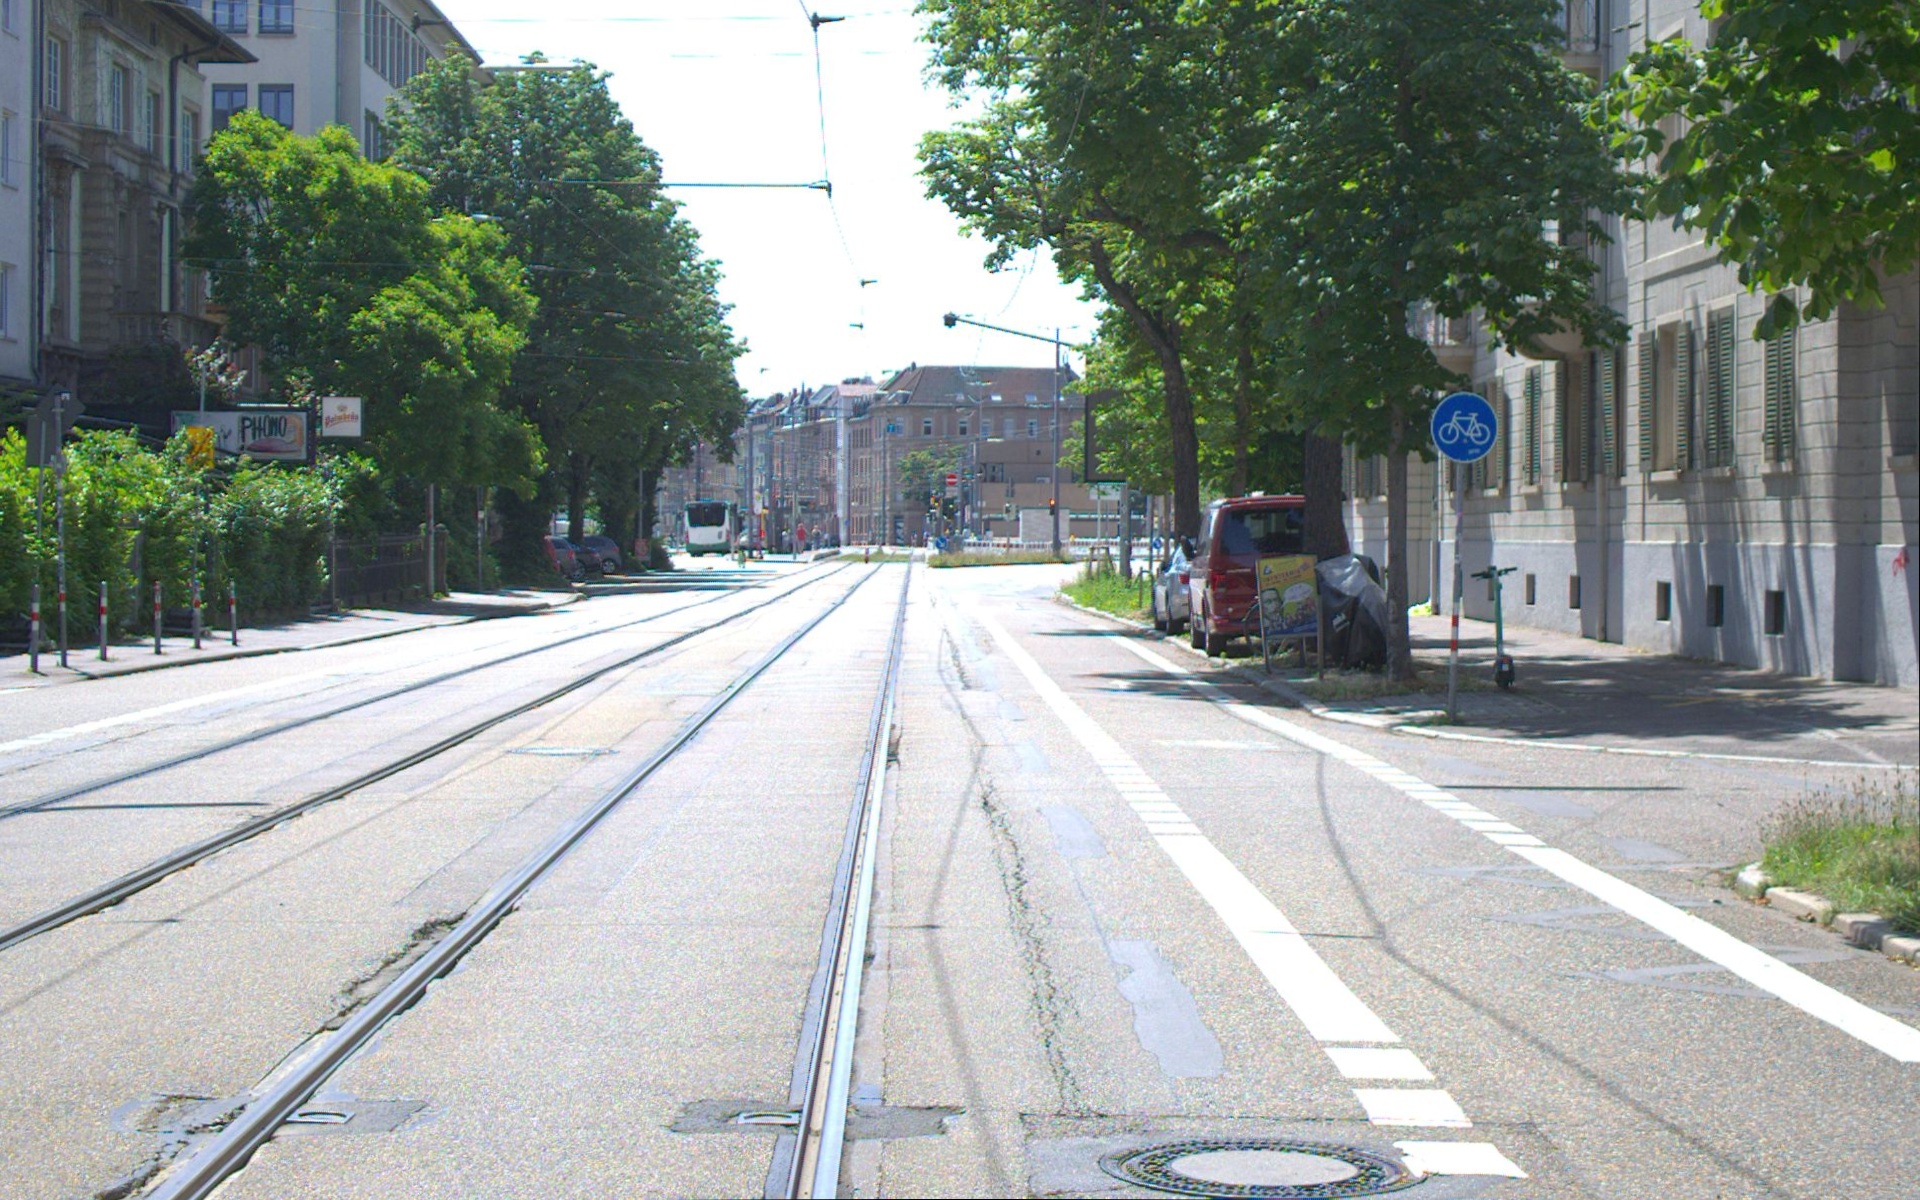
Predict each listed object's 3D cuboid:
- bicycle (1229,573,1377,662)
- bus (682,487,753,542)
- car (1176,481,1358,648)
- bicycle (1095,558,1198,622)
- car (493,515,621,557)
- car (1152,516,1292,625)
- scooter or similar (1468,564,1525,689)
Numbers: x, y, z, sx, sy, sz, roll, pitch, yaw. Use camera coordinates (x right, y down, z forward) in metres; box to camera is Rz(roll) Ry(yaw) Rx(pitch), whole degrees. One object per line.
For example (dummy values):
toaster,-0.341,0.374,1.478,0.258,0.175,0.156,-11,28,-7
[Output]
bicycle,4.030,0.205,40.407,1.696,1.018,0.365,0,1,-6
bus,-14.399,-5.107,205.535,3.010,3.147,17.499,0,1,0
car,3.915,-0.486,44.536,1.859,2.007,4.976,1,1,0
bicycle,3.042,-0.167,56.250,1.658,1.012,0.371,1,1,0
car,-13.407,-2.122,114.370,3.920,1.369,1.670,-1,2,-26
car,3.953,-0.457,52.526,1.859,1.572,4.877,1,1,1
scooter or similar,5.119,0.246,32.846,0.295,1.157,1.252,1,1,-2
